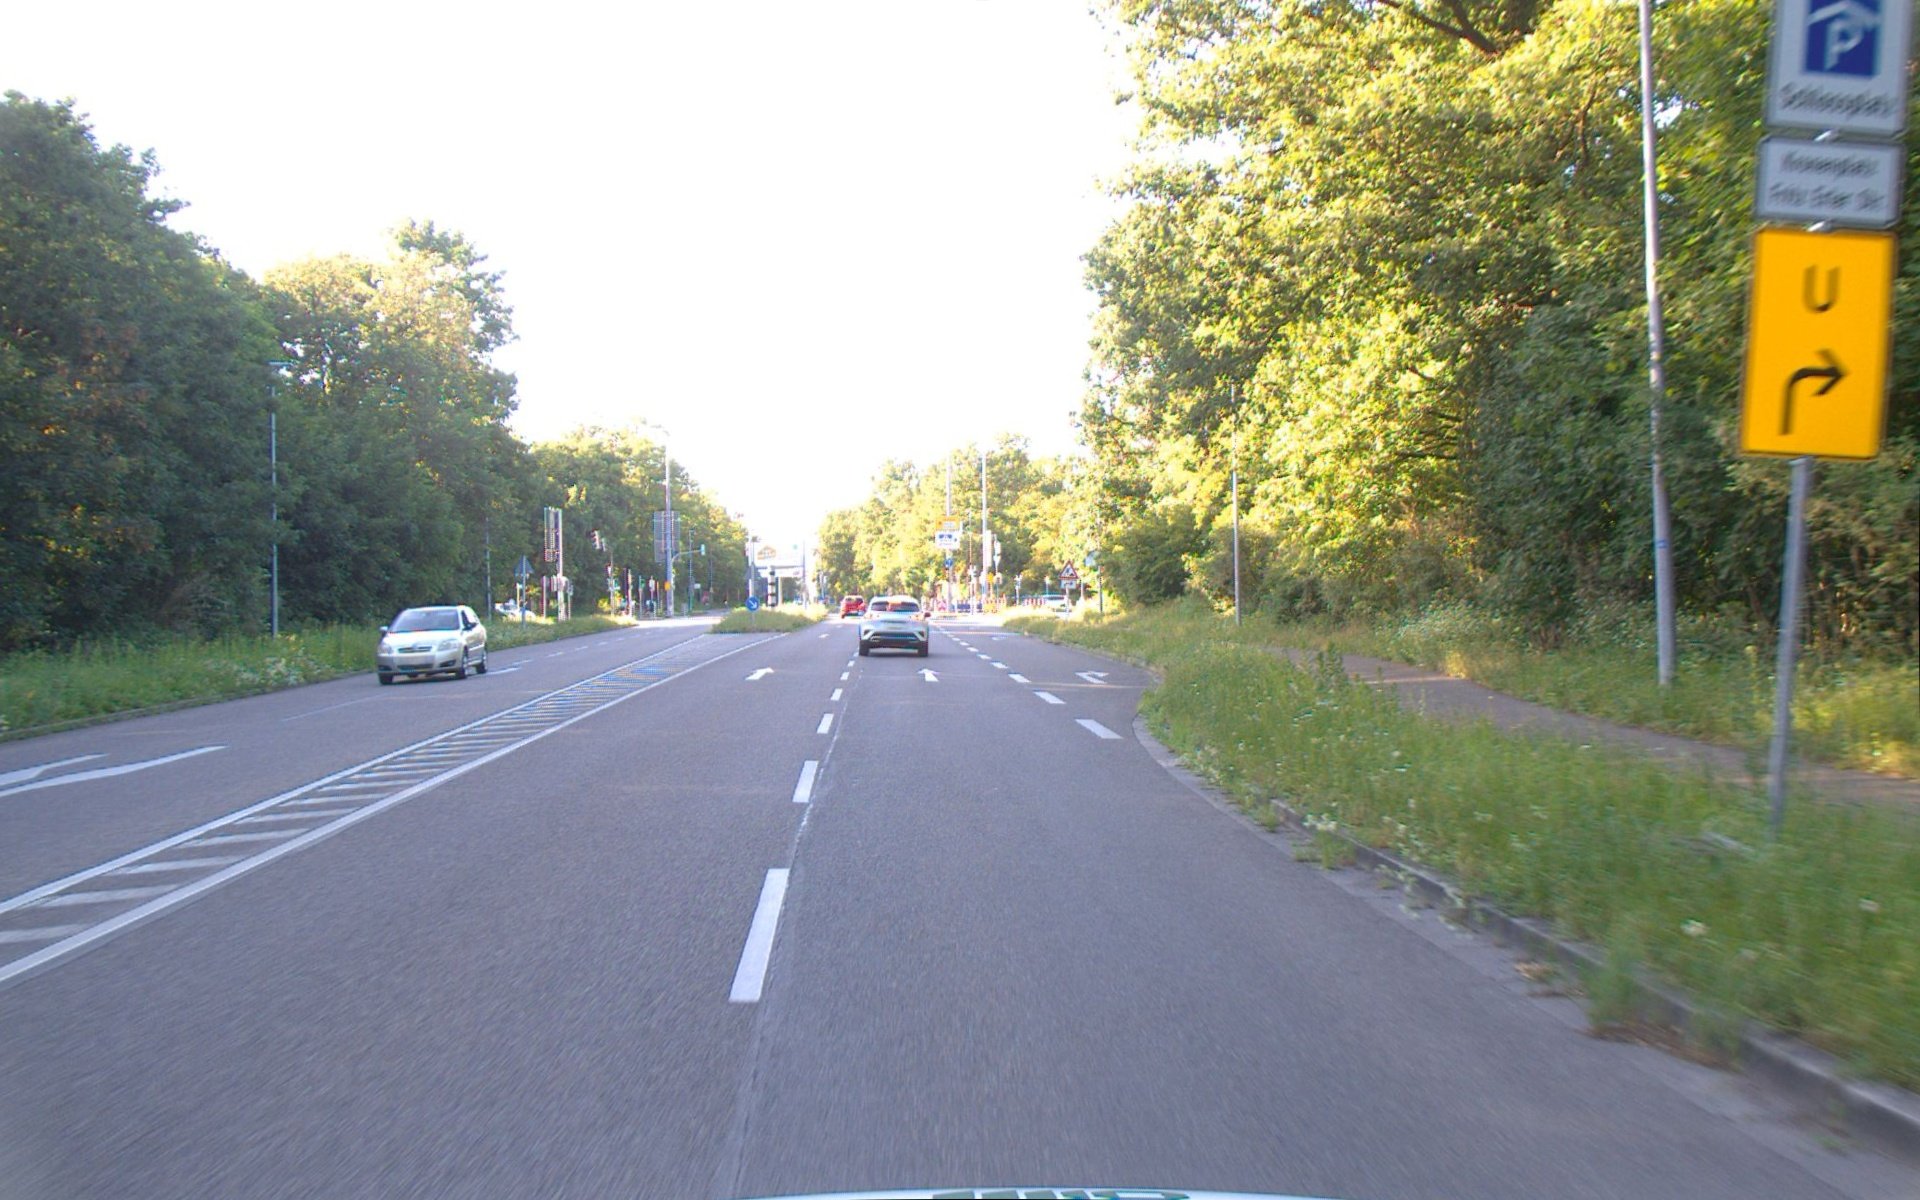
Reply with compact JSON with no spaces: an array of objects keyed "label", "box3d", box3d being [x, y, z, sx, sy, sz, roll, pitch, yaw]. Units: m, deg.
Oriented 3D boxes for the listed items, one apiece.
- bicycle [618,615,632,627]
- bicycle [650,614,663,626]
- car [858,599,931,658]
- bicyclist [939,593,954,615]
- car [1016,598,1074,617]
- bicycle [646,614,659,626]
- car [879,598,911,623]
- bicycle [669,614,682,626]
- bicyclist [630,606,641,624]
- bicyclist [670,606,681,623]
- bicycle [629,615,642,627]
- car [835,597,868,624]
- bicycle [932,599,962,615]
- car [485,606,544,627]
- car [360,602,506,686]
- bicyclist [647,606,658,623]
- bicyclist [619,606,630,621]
[{"label":"bicycle","box3d":[-27.155,1.714,133.975,0.700,0.930,1.911,-1,1,0]},{"label":"bicycle","box3d":[-25.104,1.648,136.941,0.700,0.930,1.911,-1,0,0]},{"label":"car","box3d":[-1.753,0.722,43.659,1.826,1.469,3.997,0,0,-3]},{"label":"bicyclist","box3d":[-1.209,0.361,150.445,1.004,1.963,0.957,1,0,-35]},{"label":"car","box3d":[7.552,0.680,146.171,4.756,1.608,1.984,-1,0,-25]},{"label":"bicycle","box3d":[-25.074,1.649,134.849,0.700,0.930,1.911,-1,0,0]},{"label":"car","box3d":[-3.956,0.641,101.156,1.901,1.439,3.998,-1,0,-2]},{"label":"bicycle","box3d":[-23.231,1.613,134.875,0.700,0.930,1.911,-1,0,0]},{"label":"bicyclist","box3d":[-26.274,1.217,133.915,0.696,1.414,0.990,-1,0,0]},{"label":"bicyclist","box3d":[-23.234,1.213,134.936,0.700,1.362,0.990,-1,0,0]},{"label":"bicycle","box3d":[-26.262,1.707,133.946,0.700,0.930,1.911,-1,0,0]},{"label":"car","box3d":[-7.143,0.709,108.510,1.956,1.714,3.994,-1,0,-7]},{"label":"bicycle","box3d":[-1.195,0.662,150.445,2.610,1.407,0.956,0,0,-35]},{"label":"car","box3d":[-31.622,1.140,117.372,3.745,1.413,1.910,-1,0,-29]},{"label":"car","box3d":[-10.672,0.845,33.810,1.793,1.480,4.476,-3,0,-4]},{"label":"bicyclist","box3d":[-25.080,1.208,134.848,0.700,1.379,0.990,-1,0,0]},{"label":"bicyclist","box3d":[-27.167,1.112,133.979,0.700,1.213,0.990,-1,0,0]}]
